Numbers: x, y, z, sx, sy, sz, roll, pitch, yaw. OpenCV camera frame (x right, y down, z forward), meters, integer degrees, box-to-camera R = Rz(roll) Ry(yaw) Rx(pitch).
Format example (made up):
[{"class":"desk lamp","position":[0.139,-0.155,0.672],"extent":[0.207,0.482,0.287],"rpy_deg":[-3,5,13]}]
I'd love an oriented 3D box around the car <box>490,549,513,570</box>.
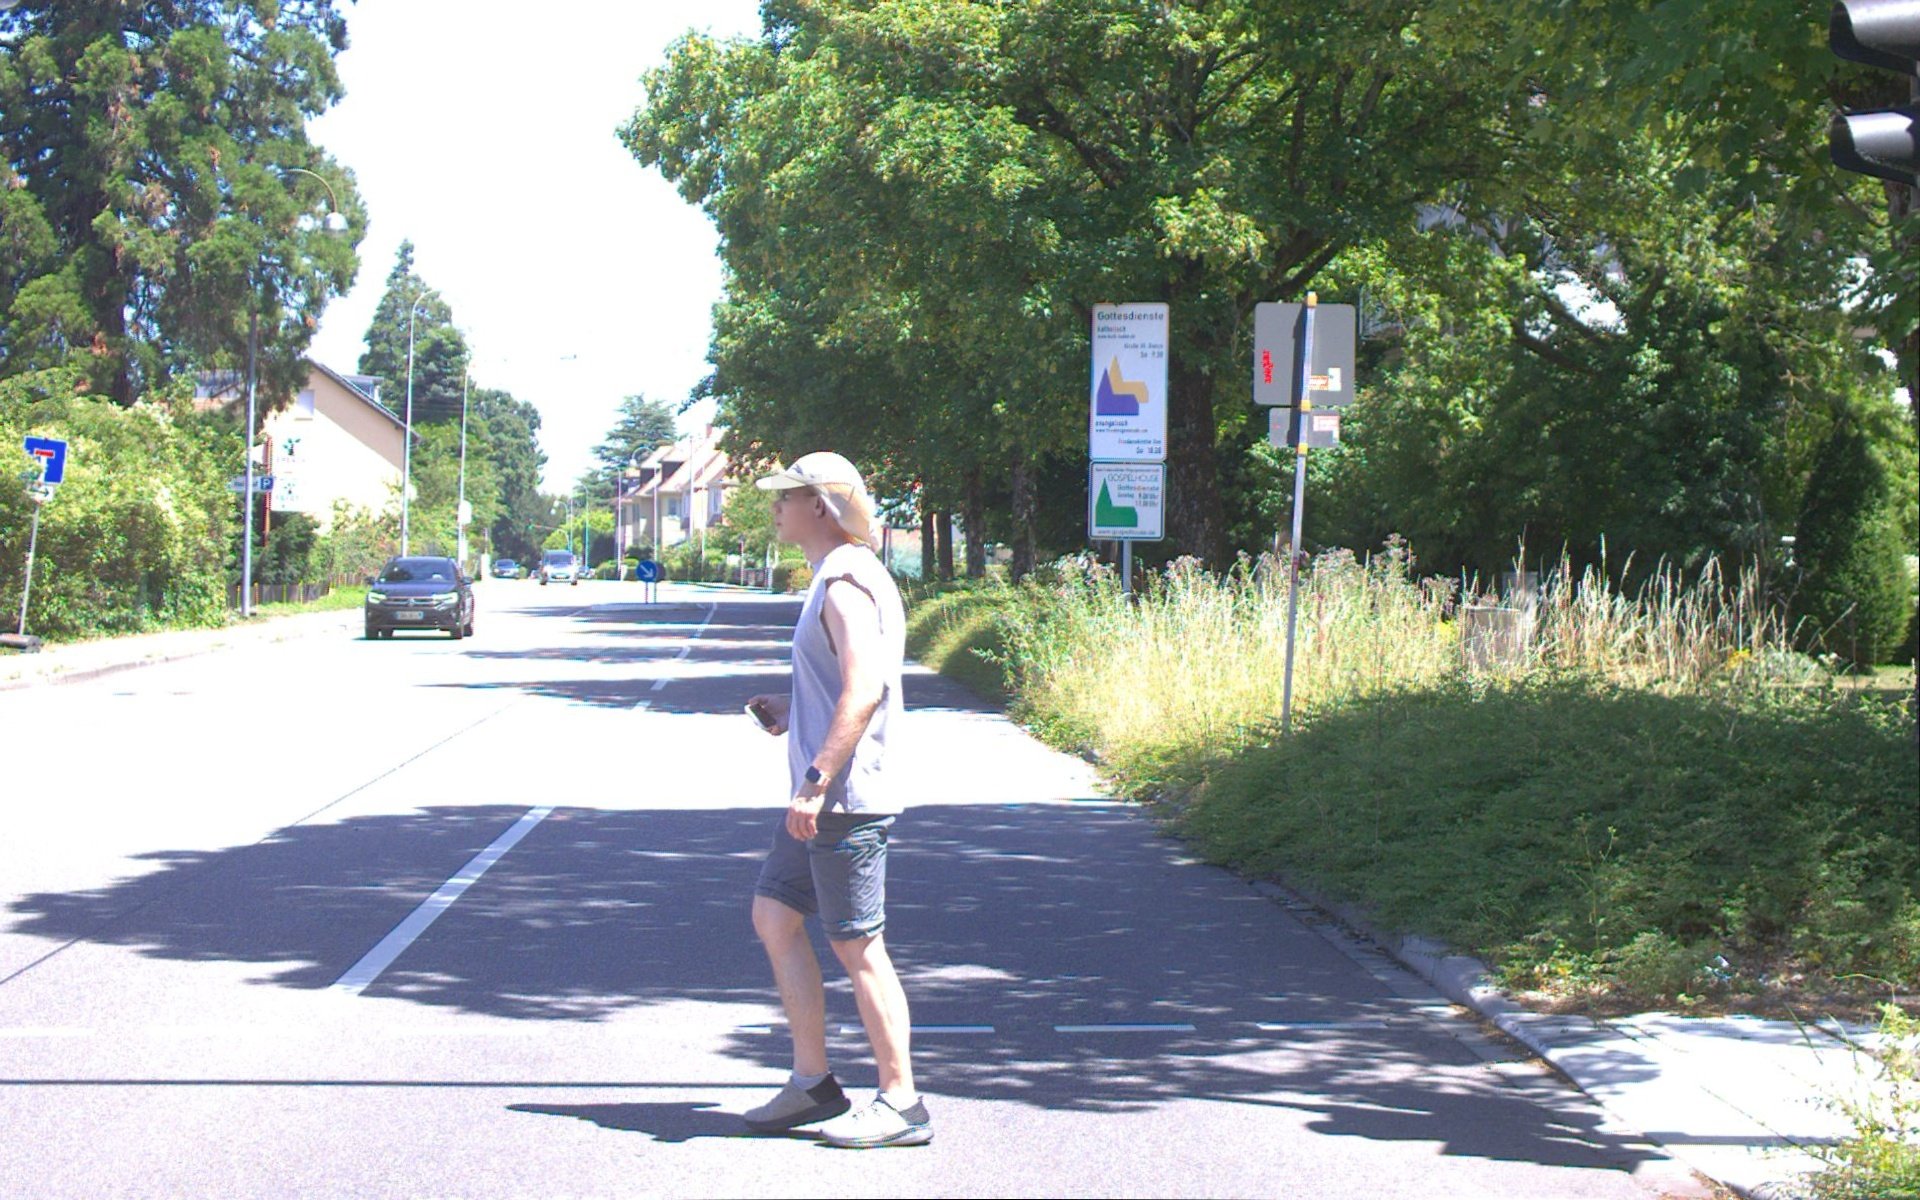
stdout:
[{"class":"car","position":[-33.355,-2.937,250.021],"extent":[1.460,1.430,3.184],"rpy_deg":[1,0,-5]}]

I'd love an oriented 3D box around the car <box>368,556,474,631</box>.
[{"class":"car","position":[-9.821,-0.120,62.784],"extent":[1.431,1.318,3.355],"rpy_deg":[1,0,-1]}]

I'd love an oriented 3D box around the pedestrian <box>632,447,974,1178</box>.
[{"class":"pedestrian","position":[-0.391,0.503,8.613],"extent":[0.614,1.745,0.561],"rpy_deg":[1,0,38]}]

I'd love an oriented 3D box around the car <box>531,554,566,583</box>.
[{"class":"car","position":[-20.615,-1.570,172.387],"extent":[1.555,1.443,3.790],"rpy_deg":[1,0,-5]}]
